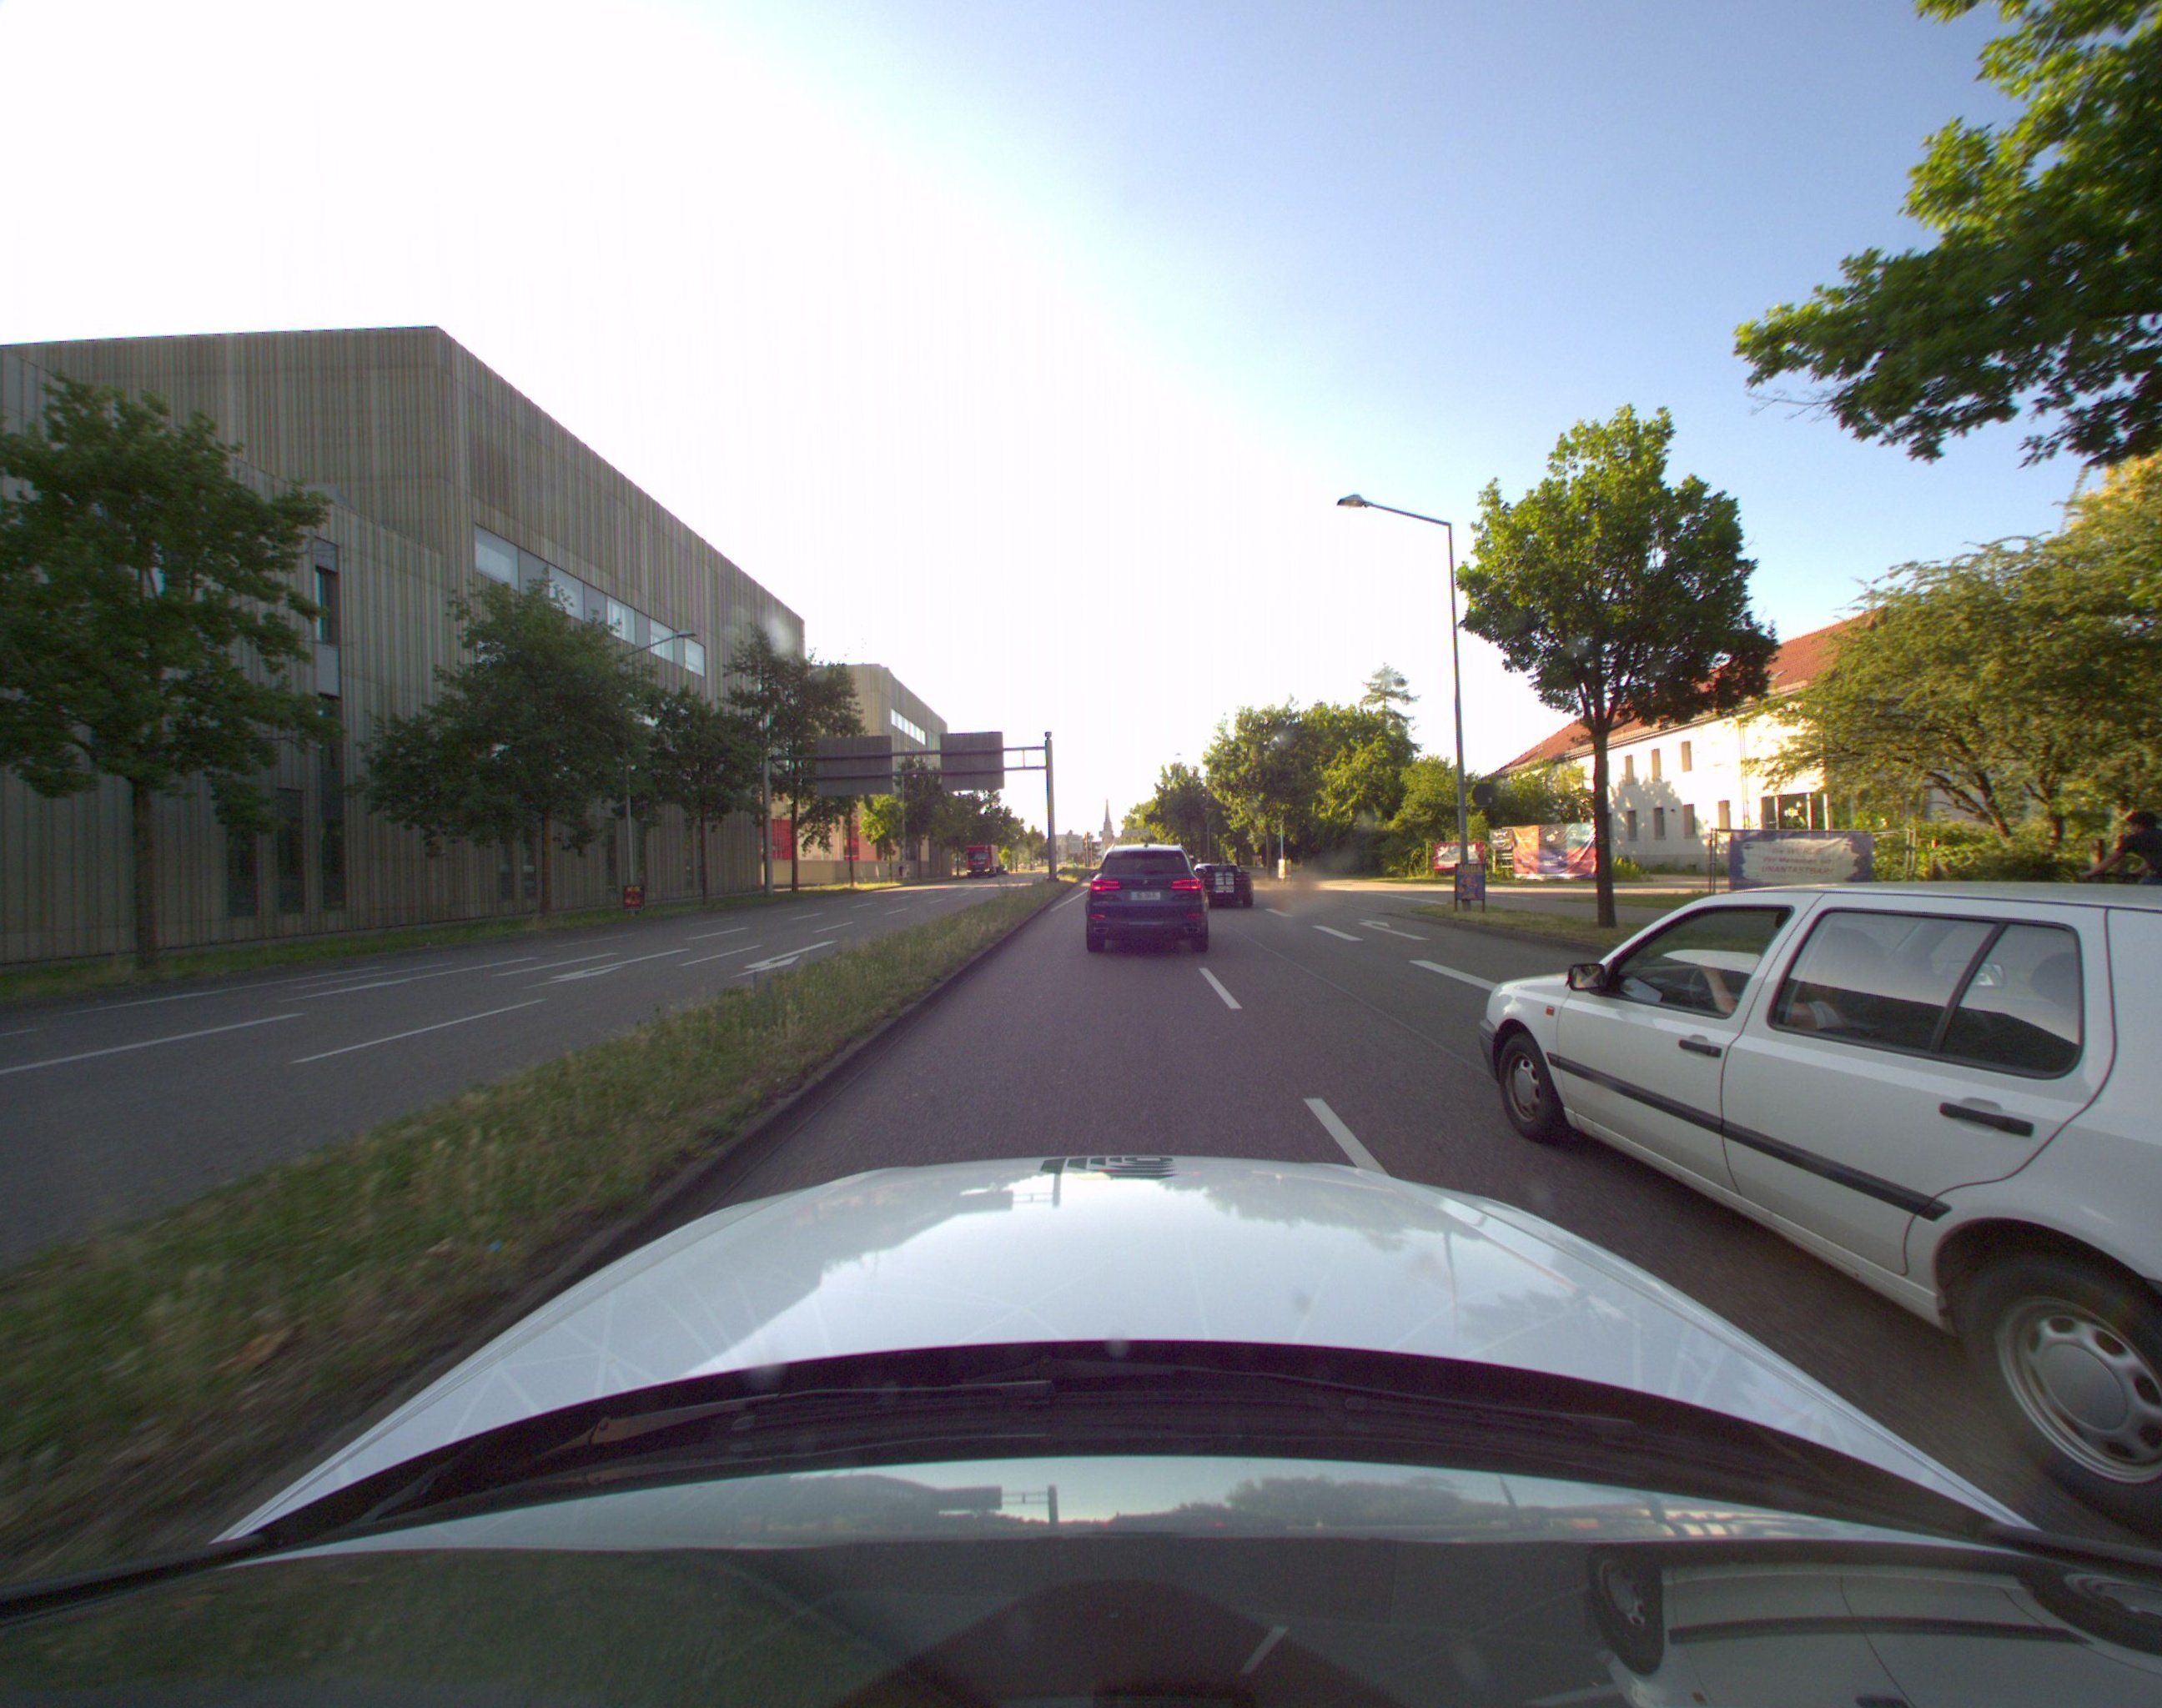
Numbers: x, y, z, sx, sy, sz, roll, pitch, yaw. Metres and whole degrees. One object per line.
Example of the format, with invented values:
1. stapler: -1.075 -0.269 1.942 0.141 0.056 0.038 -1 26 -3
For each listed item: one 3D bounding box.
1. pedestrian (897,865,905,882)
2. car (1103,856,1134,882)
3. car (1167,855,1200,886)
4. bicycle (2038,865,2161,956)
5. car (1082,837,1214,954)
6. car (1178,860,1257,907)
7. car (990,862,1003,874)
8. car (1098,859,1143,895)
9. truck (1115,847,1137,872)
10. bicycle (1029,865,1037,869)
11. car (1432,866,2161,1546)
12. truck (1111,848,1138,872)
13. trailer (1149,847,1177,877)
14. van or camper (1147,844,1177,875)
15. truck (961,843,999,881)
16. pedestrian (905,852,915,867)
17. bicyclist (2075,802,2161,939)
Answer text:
1. pedestrian: -19.596 2.086 88.636 0.630 1.841 0.717 -2 -1 3
2. car: 2.664 1.026 56.826 1.896 1.660 4.007 -2 -1 6
3. car: 5.735 0.882 45.867 1.738 1.621 3.826 -2 0 6
4. bicycle: 12.190 0.622 9.222 0.614 0.973 1.823 -2 -1 4
5. car: 1.118 0.667 14.573 1.947 1.727 4.702 -1 -1 3
6. car: 4.238 0.879 25.909 1.847 1.338 4.627 -1 -1 2
7. car: -11.472 1.902 110.718 1.592 1.512 3.863 -2 0 -3
8. car: 1.808 0.972 36.367 1.738 1.473 3.826 -2 -1 6
9. truck: 5.008 0.632 91.668 2.212 2.651 4.774 -2 -1 1
10. bicycle: -12.293 3.388 209.479 1.893 1.020 0.506 -1 -1 17
11. car: 3.066 0.753 3.305 1.605 1.398 4.038 0 -1 1
12. truck: 4.937 0.664 92.732 2.573 2.558 6.248 -2 -1 -1
13. trailer: 6.647 0.651 66.474 2.082 2.400 3.502 -1 -1 2
14. van or camper: 7.147 0.467 72.554 2.275 2.629 6.587 -1 -1 2
15. truck: -10.766 0.863 87.953 2.990 3.811 10.081 -2 0 -2
16. pedestrian: -18.404 0.635 87.755 0.773 1.601 0.910 -2 -1 3
17. bicyclist: 12.177 0.180 9.282 0.610 1.501 0.849 -2 -1 3
